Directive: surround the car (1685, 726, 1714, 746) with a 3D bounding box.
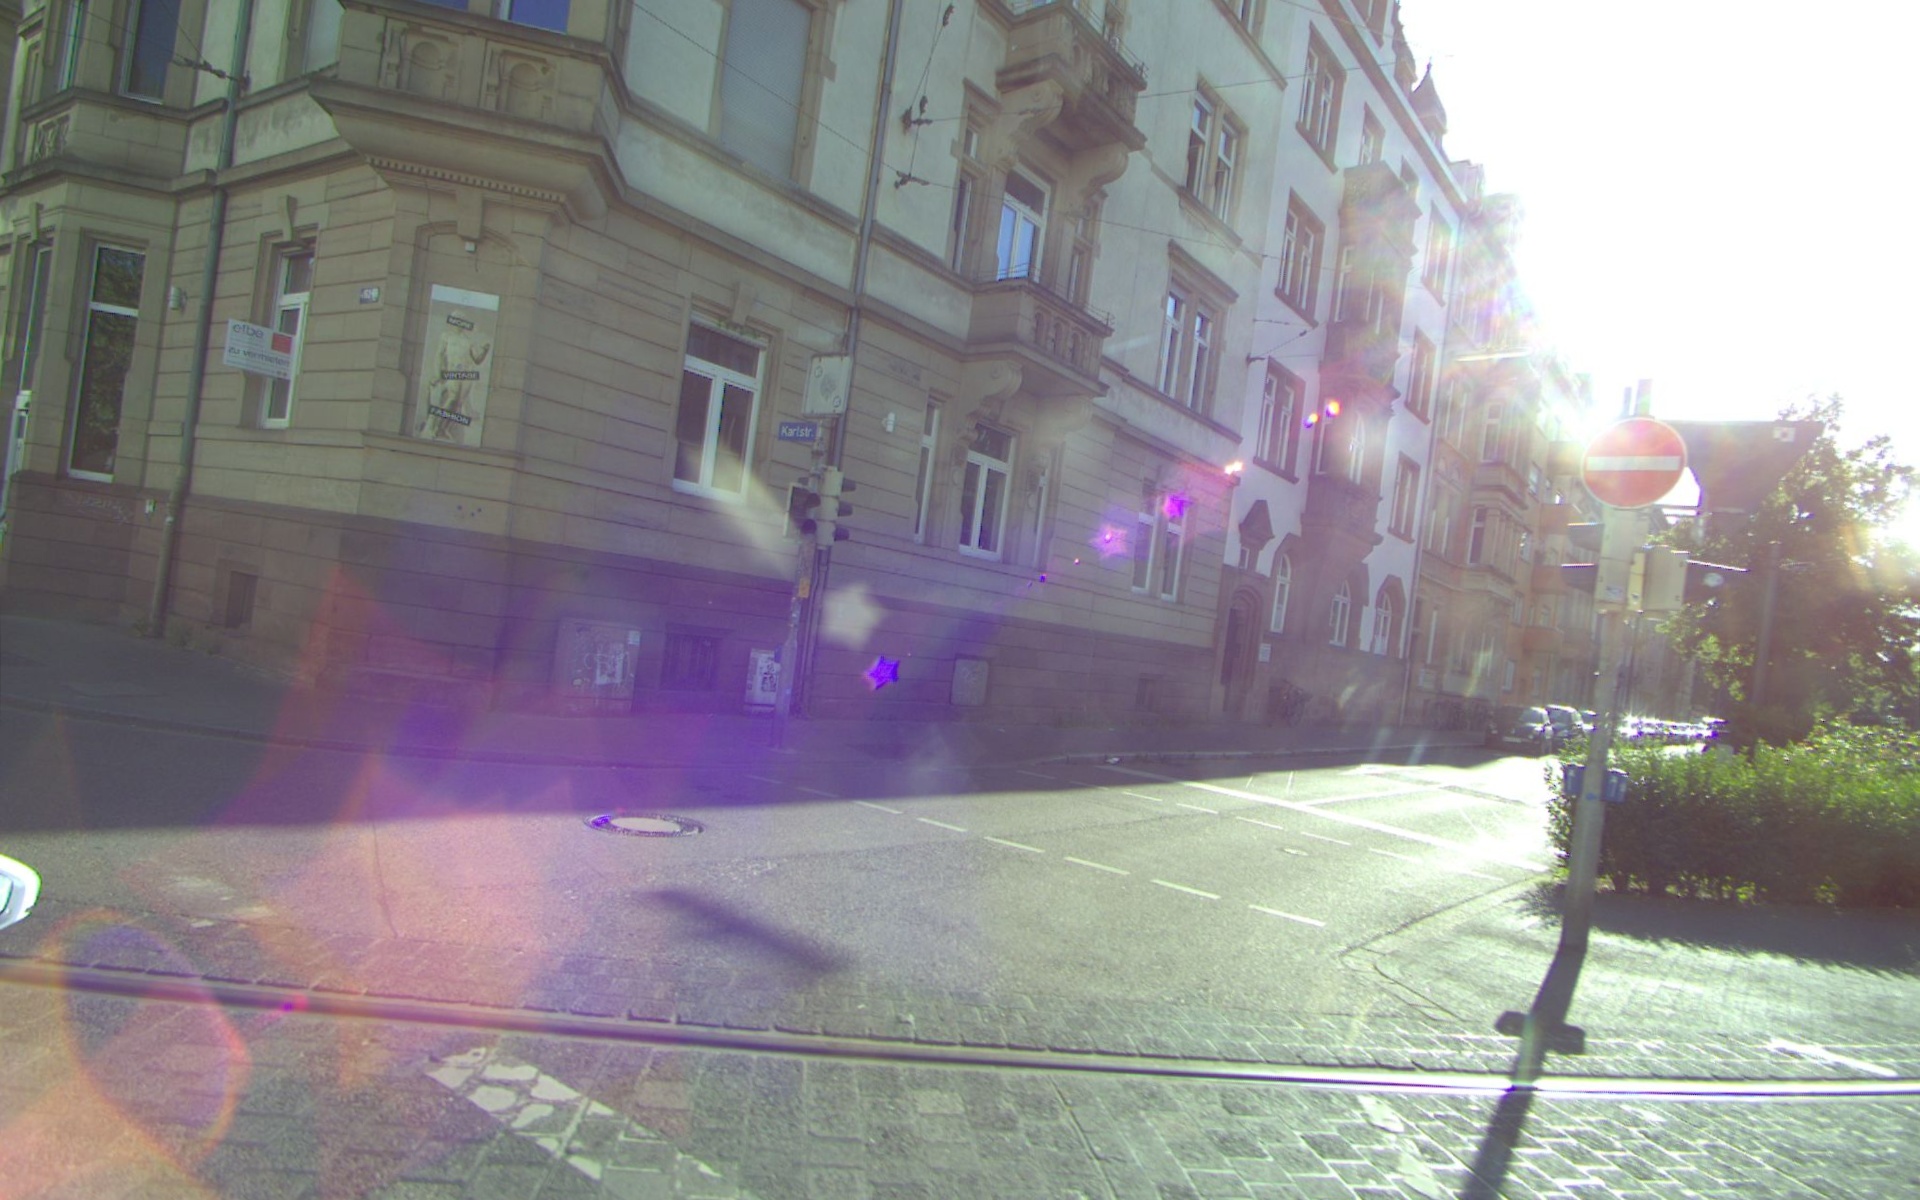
[{"bbox_3d":[64.535,11.829,87.754,1.866,1.414,3.987,7,-1,38],"label":"car"}]

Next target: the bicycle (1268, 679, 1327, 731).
[{"bbox_3d":[8.475,2.647,25.212,0.518,1.188,2.184,5,-2,41],"label":"bicycle"}]

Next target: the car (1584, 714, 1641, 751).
[{"bbox_3d":[31.820,6.427,49.018,1.866,1.414,3.987,7,-1,38],"label":"car"}]

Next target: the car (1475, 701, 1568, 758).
[{"bbox_3d":[17.936,4.107,32.061,1.866,1.414,3.987,7,-1,38],"label":"car"}]

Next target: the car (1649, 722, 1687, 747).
[{"bbox_3d":[50.209,9.542,71.302,1.866,1.414,3.987,7,-1,38],"label":"car"}]

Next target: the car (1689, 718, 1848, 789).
[{"bbox_3d":[27.051,5.100,33.731,3.950,1.772,1.823,3,-4,44],"label":"car"}]

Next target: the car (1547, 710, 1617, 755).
[{"bbox_3d":[24.904,5.286,40.218,1.866,1.414,3.987,7,-1,38],"label":"car"}]

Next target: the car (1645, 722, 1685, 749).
[{"bbox_3d":[47.015,9.019,67.061,1.866,1.414,3.987,7,-1,38],"label":"car"}]

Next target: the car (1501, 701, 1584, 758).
[{"bbox_3d":[20.464,4.520,35.268,1.866,1.586,3.987,7,-1,38],"label":"car"}]

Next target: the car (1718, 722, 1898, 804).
[{"bbox_3d":[25.325,4.836,30.123,3.950,1.813,1.823,3,-4,44],"label":"car"}]

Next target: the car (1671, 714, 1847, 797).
[{"bbox_3d":[23.135,4.474,29.202,3.807,1.813,1.688,3,-4,44],"label":"car"}]

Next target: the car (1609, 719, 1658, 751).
[{"bbox_3d":[37.122,7.433,55.433,1.866,1.414,3.987,7,-1,38],"label":"car"}]

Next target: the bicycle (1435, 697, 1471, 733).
[{"bbox_3d":[17.694,4.126,36.074,0.518,1.188,2.184,5,-2,41],"label":"bicycle"}]
